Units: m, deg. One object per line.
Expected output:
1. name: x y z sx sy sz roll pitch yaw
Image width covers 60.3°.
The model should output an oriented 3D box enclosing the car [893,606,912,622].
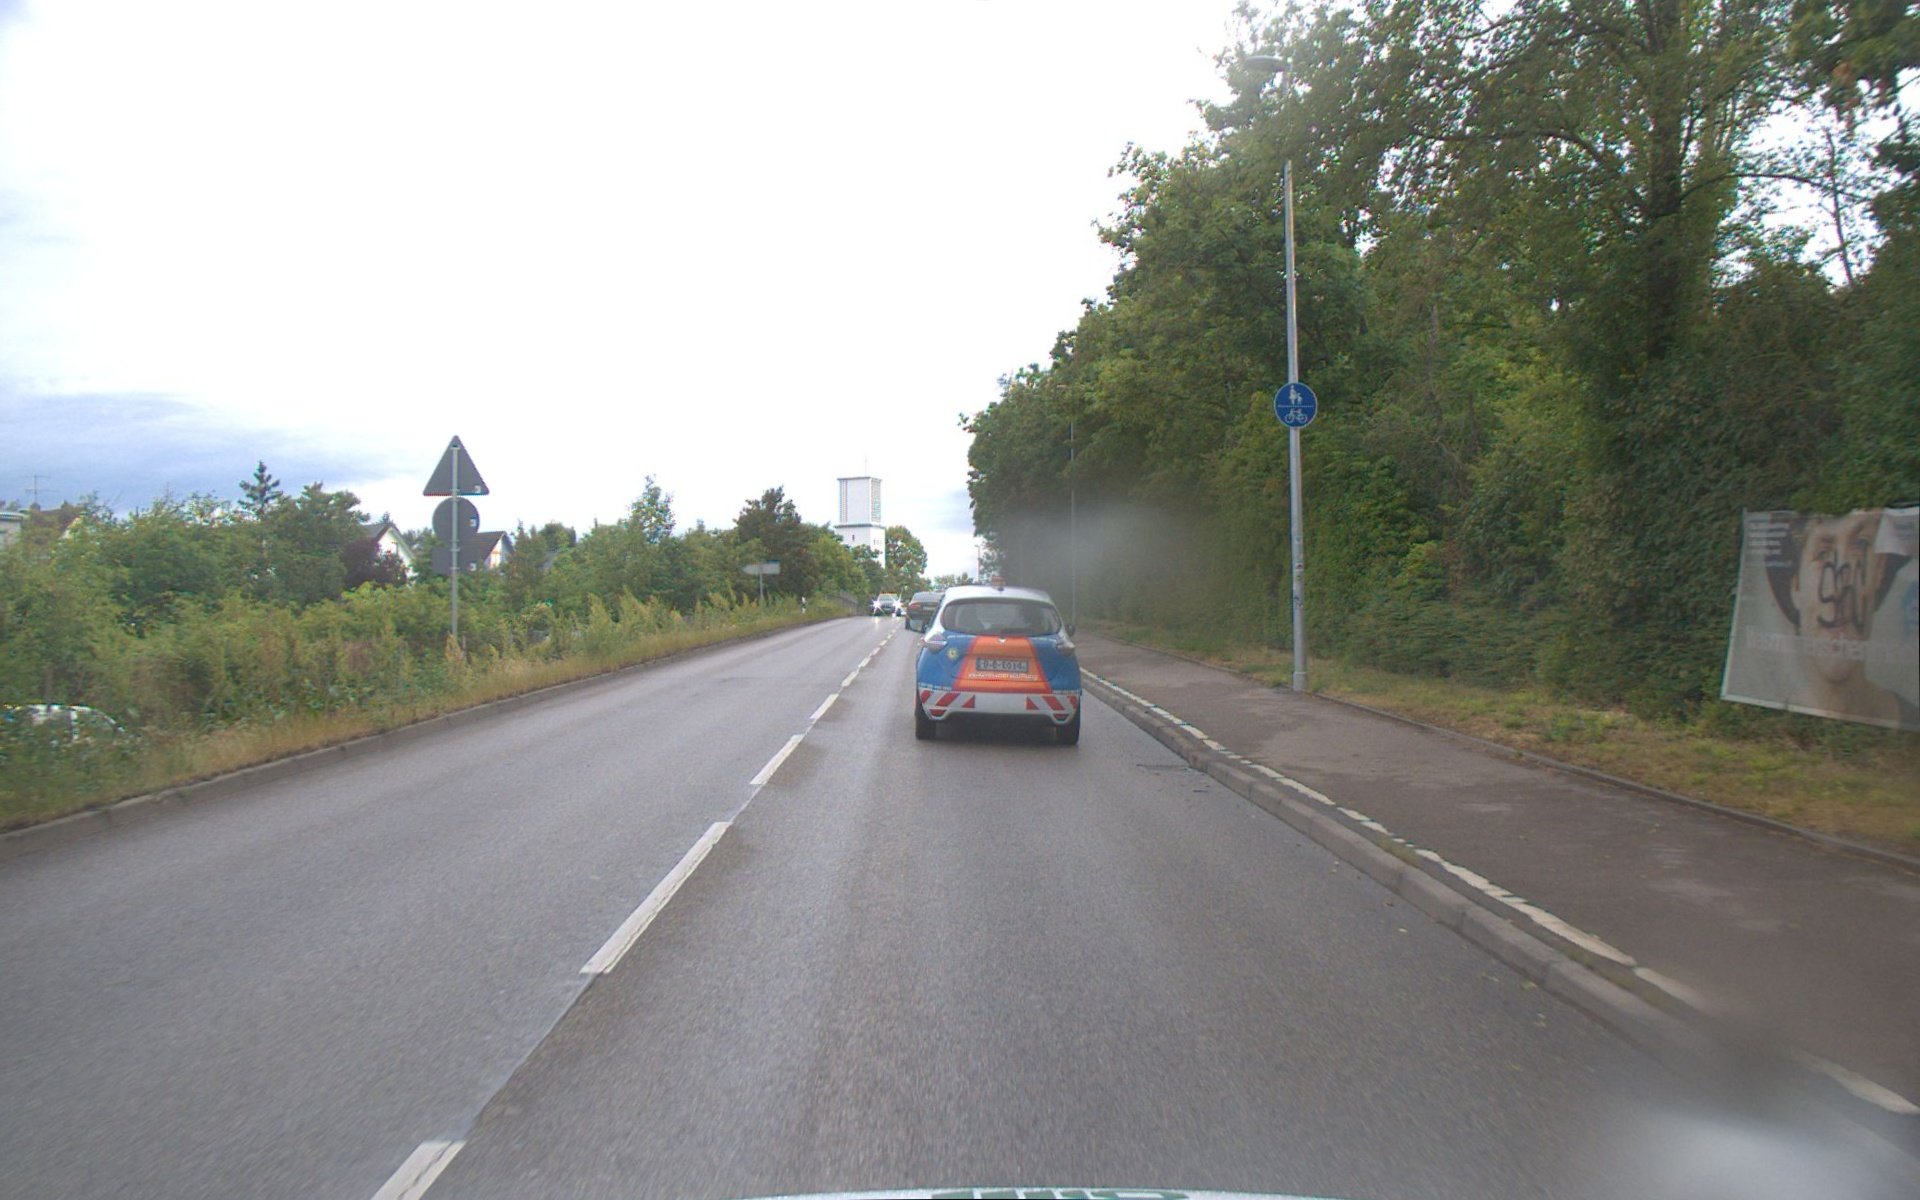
1. car: -5.640 1.358 162.751 1.824 1.530 4.727 0 0 -1

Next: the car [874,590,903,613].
1. car: -5.142 0.106 119.626 1.830 1.613 4.415 1 0 1

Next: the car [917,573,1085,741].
1. car: 0.364 0.582 17.814 1.624 1.621 3.567 0 -1 -1

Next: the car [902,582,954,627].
1. car: -1.233 0.180 62.546 1.767 1.618 3.560 -1 0 -4

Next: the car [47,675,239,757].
1. car: -23.410 3.301 47.565 1.827 1.721 4.634 -5 1 30
